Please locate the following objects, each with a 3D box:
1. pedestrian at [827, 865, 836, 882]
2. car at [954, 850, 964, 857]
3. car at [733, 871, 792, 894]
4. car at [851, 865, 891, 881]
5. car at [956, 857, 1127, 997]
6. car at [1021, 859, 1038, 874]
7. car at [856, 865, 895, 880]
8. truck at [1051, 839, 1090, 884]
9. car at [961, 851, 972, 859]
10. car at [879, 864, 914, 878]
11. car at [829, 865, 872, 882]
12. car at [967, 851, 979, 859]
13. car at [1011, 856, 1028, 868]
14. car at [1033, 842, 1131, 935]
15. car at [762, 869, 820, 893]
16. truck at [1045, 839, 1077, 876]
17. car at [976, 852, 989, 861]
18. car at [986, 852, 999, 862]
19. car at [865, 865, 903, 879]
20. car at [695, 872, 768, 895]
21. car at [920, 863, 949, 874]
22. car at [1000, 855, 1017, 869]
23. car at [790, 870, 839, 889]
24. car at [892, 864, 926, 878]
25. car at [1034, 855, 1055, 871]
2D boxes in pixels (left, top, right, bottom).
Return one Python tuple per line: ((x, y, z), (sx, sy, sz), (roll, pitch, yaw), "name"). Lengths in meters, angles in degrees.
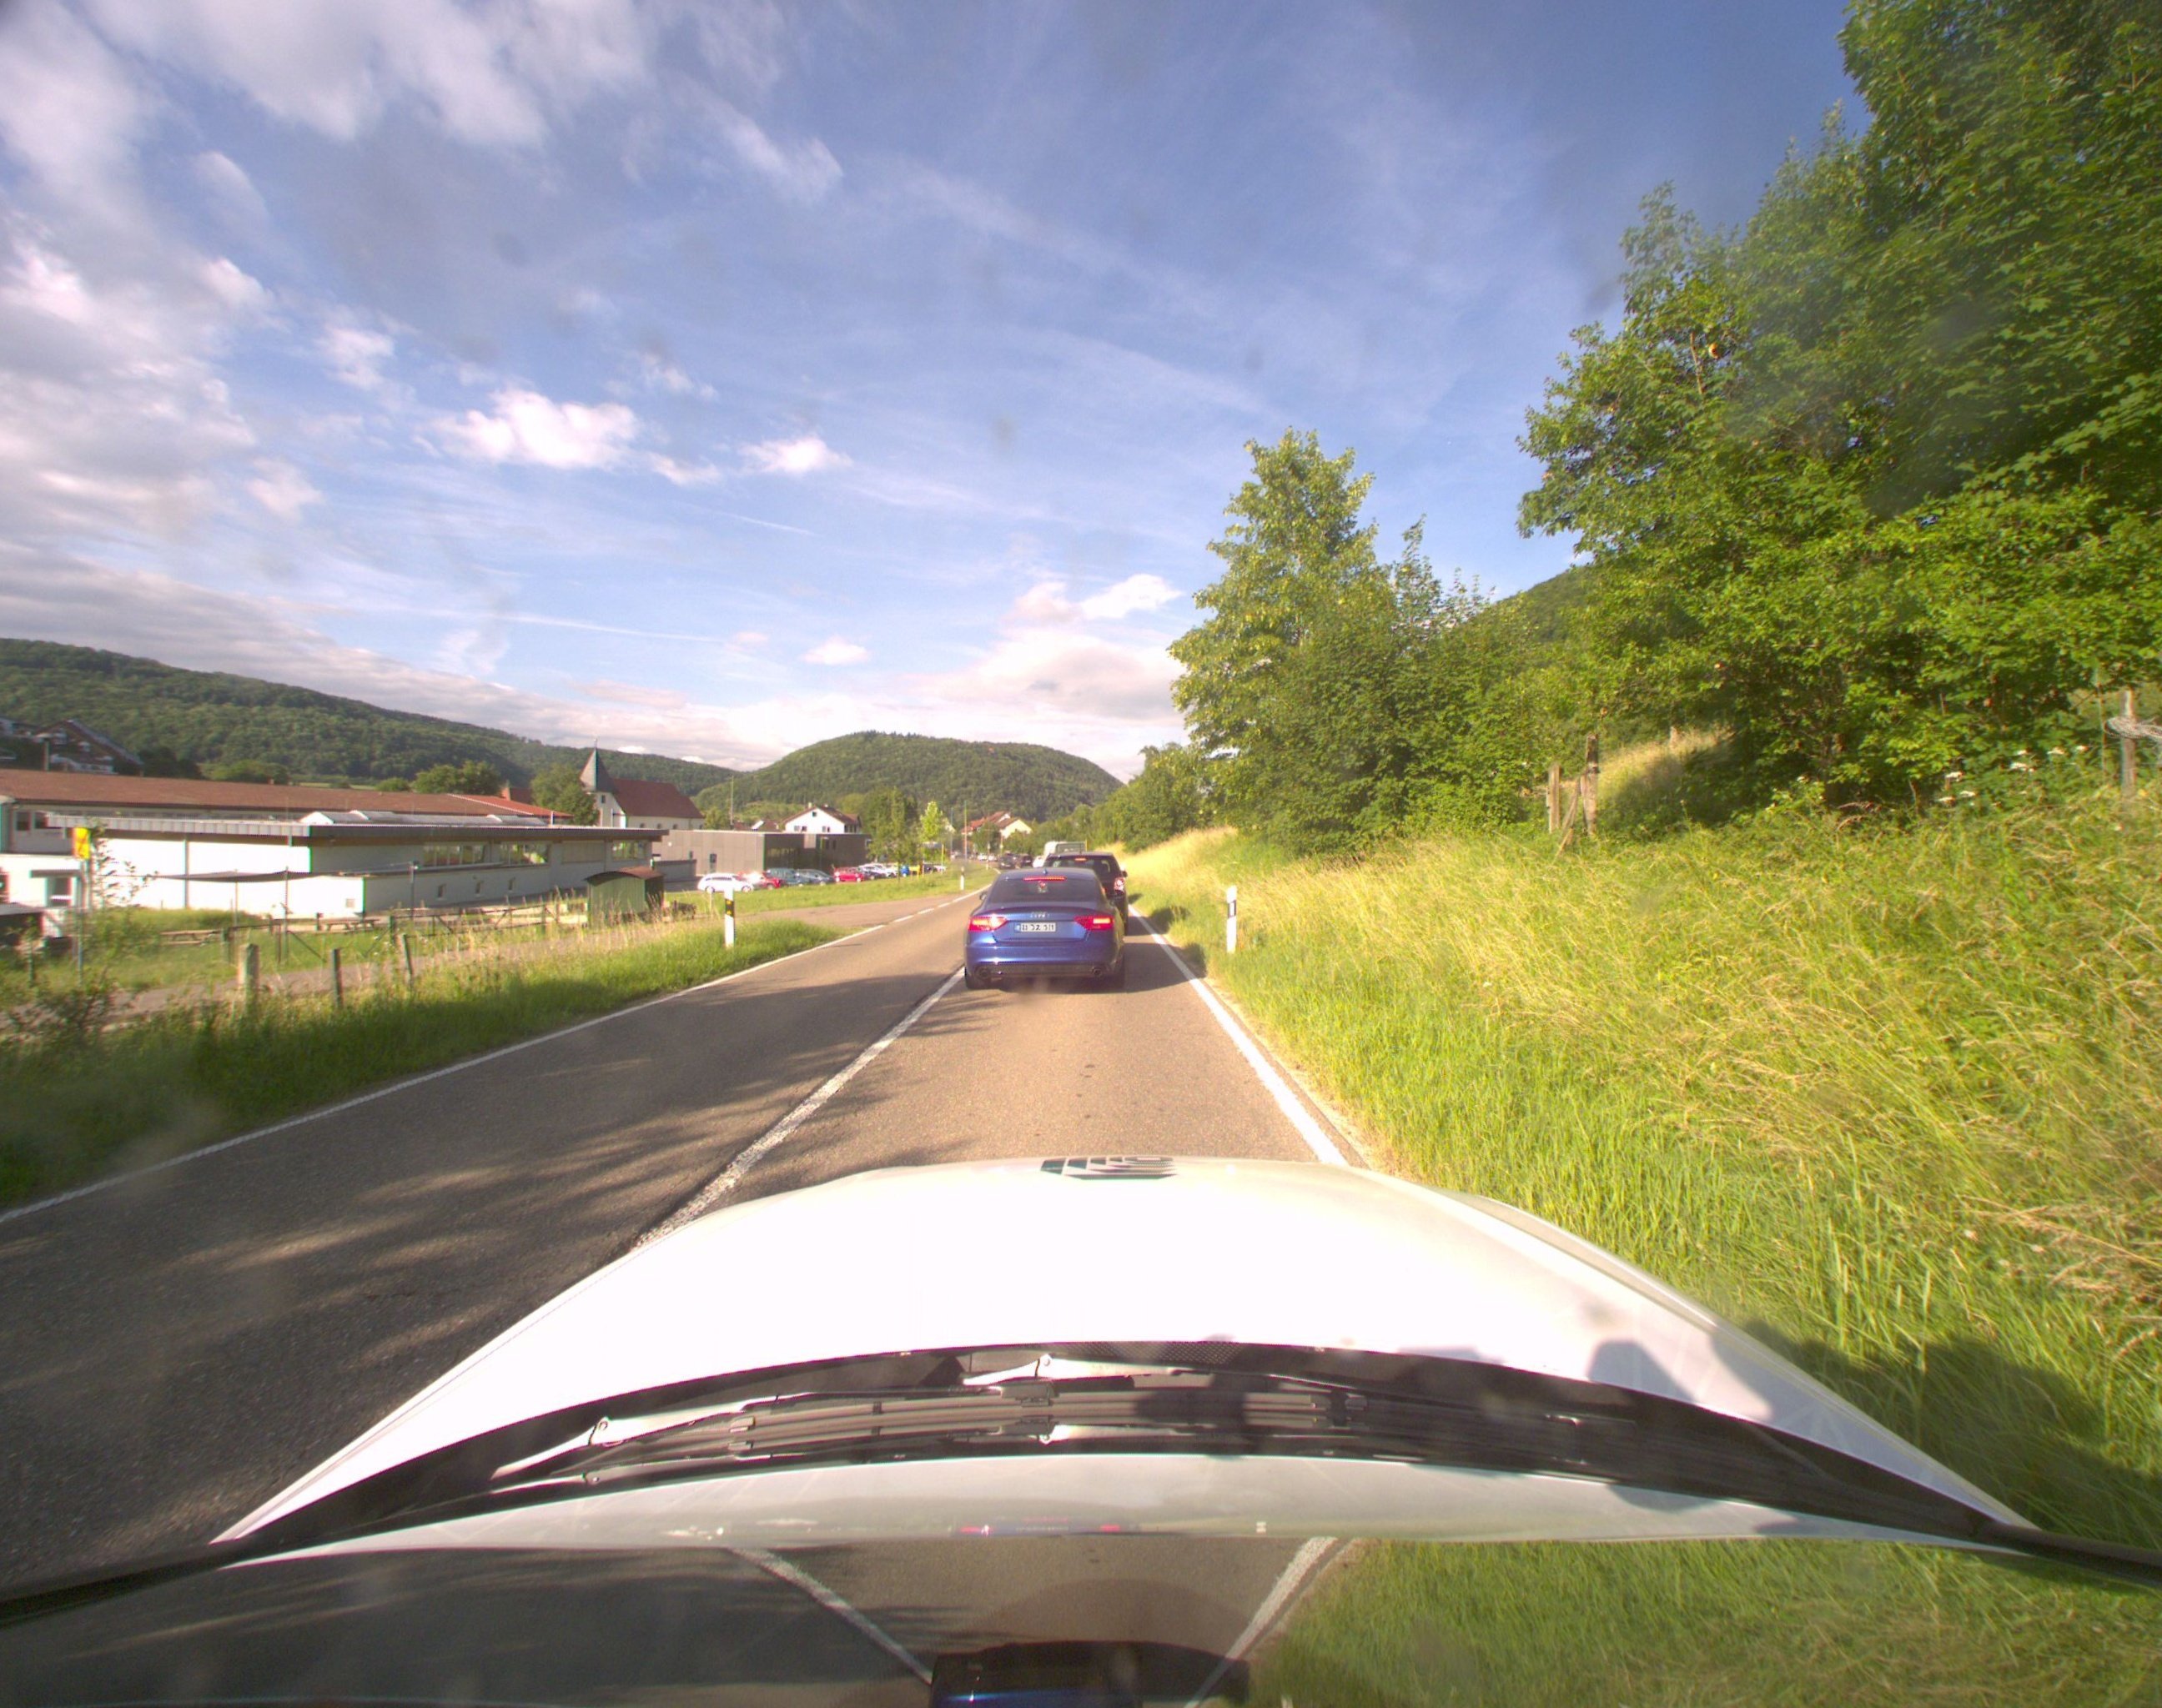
((-29.984, 2.307, 97.841), (0.822, 2.014, 0.973), (0, -1, 1), "pedestrian")
((-28.754, -0.125, 191.336), (1.850, 1.712, 3.977), (0, -1, -17), "car")
((-25.789, 2.295, 65.940), (3.976, 1.711, 1.999), (0, -1, -1), "car")
((-23.472, 2.093, 91.076), (3.976, 1.711, 1.999), (0, -1, -1), "car")
((-0.333, 0.765, 10.303), (1.747, 1.430, 3.848), (0, -1, 2), "car")
((-6.099, 1.450, 95.539), (1.843, 1.712, 3.991), (0, -1, -6), "car")
((-23.866, 2.130, 94.739), (3.976, 1.711, 1.999), (0, -1, -1), "car")
((-0.661, 0.442, 49.368), (2.224, 2.570, 6.099), (0, -1, -2), "truck")
((-25.269, 0.198, 179.495), (1.850, 1.712, 3.977), (0, -1, -17), "car")
((-23.500, 2.211, 103.808), (3.976, 1.711, 1.999), (0, -1, -1), "car")
((-24.475, 2.058, 86.514), (3.976, 1.711, 1.999), (0, -1, -1), "car")
((-22.469, 0.259, 169.758), (1.850, 1.712, 3.977), (0, -1, -17), "car")
((-8.829, 1.115, 117.264), (1.847, 1.712, 3.982), (0, -1, -13), "car")
((0.094, 0.640, 16.620), (1.747, 1.681, 3.848), (0, -1, 2), "car")
((-25.516, 2.347, 71.741), (4.394, 2.008, 1.999), (0, -1, -2), "car")
((-1.552, 0.249, 60.471), (2.225, 2.570, 6.700), (0, -1, -3), "truck")
((-18.962, 0.535, 156.293), (1.850, 1.712, 3.977), (0, -1, -17), "car")
((-15.625, 0.490, 144.425), (1.847, 1.712, 3.982), (0, -1, -13), "car")
((-23.690, 2.159, 98.022), (3.976, 1.711, 1.999), (0, -1, -1), "car")
((-26.941, 2.276, 62.851), (4.717, 1.711, 1.999), (0, -1, -2), "car")
((-21.701, 2.153, 120.822), (3.976, 1.579, 1.752), (0, -1, -2), "car")
((-7.936, 0.846, 88.926), (1.702, 1.430, 4.040), (0, -1, -7), "car")
((-24.767, 2.379, 75.776), (3.976, 1.711, 1.999), (0, -1, -1), "car")
((-22.484, 2.227, 106.357), (3.976, 1.711, 1.999), (0, -1, -1), "car")
((-3.717, 0.908, 81.851), (1.843, 1.482, 3.991), (0, -1, -6), "car")
